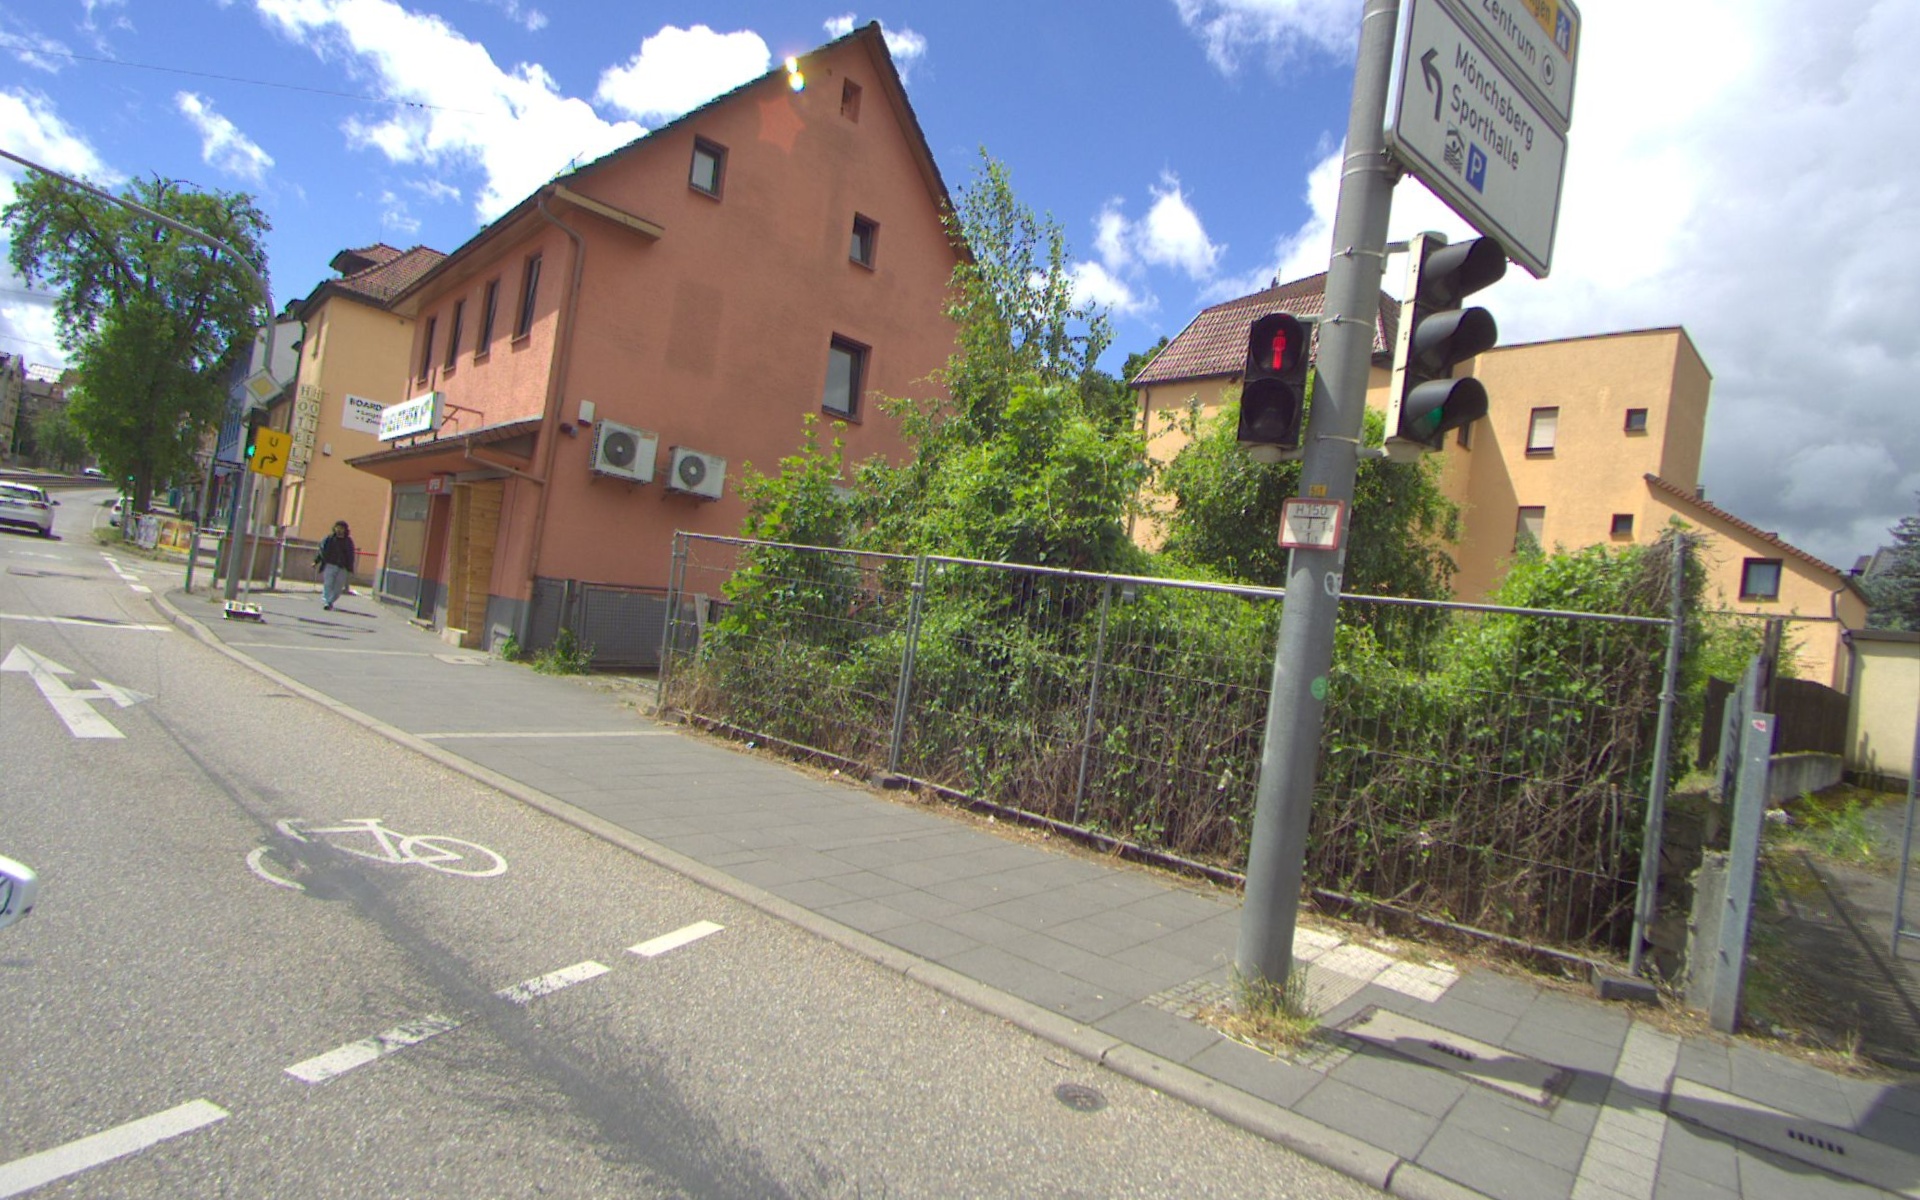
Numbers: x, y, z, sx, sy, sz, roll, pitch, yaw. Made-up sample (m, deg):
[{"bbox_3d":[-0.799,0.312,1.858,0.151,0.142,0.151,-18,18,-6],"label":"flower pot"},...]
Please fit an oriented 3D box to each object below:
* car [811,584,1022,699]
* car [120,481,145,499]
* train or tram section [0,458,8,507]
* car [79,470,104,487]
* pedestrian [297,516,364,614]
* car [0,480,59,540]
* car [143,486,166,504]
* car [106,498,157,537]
[{"bbox_3d":[-0.652,0.670,15.766,2.792,1.516,1.629,5,2,-42],"label":"car"},{"bbox_3d":[-87.962,-11.671,106.967,1.810,1.484,3.957,12,-3,-39],"label":"car"},{"bbox_3d":[-74.915,-9.344,74.088,3.728,3.859,19.864,7,-1,-35],"label":"train or tram section"},{"bbox_3d":[-128.573,-17.968,148.970,1.980,2.037,3.968,7,-1,-31],"label":"car"},{"bbox_3d":[-11.570,-0.637,18.495,0.761,1.663,0.768,7,1,-42],"label":"pedestrian"},{"bbox_3d":[-28.994,-2.843,30.803,1.813,1.483,3.951,14,-5,-43],"label":"car"},{"bbox_3d":[-104.647,-13.630,130.681,2.115,1.880,3.697,9,-1,-39],"label":"car"},{"bbox_3d":[-41.144,-4.079,49.971,1.780,1.615,3.956,8,-1,-40],"label":"car"}]
